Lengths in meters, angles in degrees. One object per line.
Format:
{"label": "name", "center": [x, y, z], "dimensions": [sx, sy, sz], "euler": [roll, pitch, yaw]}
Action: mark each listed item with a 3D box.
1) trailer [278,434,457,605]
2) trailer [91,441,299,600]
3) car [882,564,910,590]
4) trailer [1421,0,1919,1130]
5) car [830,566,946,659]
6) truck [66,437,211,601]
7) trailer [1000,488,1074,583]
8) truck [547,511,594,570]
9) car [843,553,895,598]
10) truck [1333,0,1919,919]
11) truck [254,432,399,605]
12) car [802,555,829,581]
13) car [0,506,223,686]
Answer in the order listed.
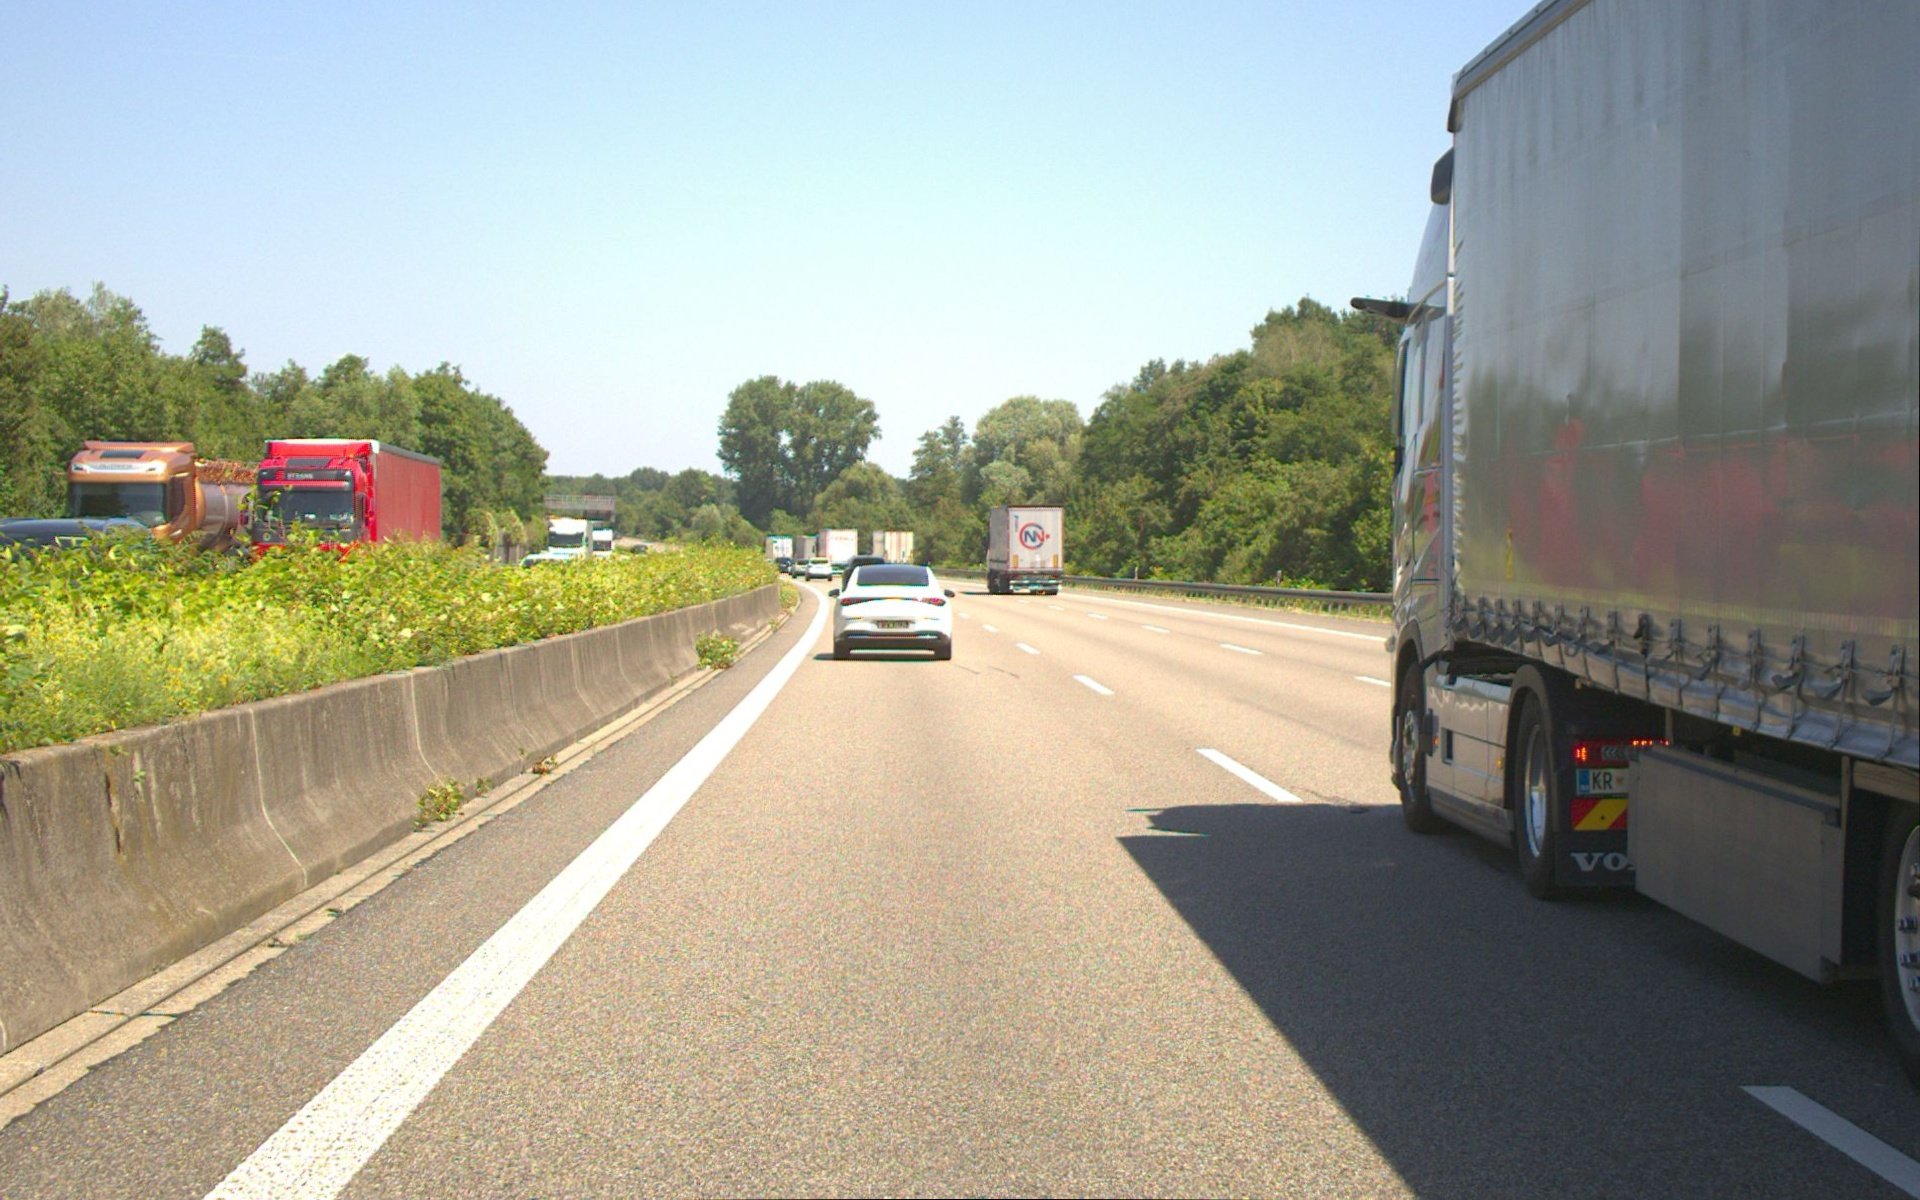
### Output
{"label": "trailer", "center": [-14.762, -1.948, 86.750], "dimensions": [2.465, 3.922, 14.402], "euler": [1, 1, -2]}
{"label": "trailer", "center": [-18.749, -1.896, 85.247], "dimensions": [2.371, 3.583, 14.222], "euler": [1, 1, -2]}
{"label": "car", "center": [-4.016, -1.476, 216.278], "dimensions": [1.723, 1.580, 4.000], "euler": [1, 1, -2]}
{"label": "trailer", "center": [3.923, -0.566, 10.871], "dimensions": [2.740, 3.961, 13.655], "euler": [1, 1, -1]}
{"label": "car", "center": [-1.088, 0.171, 53.417], "dimensions": [1.715, 1.365, 3.375], "euler": [1, 1, 0]}
{"label": "truck", "center": [-18.532, -1.807, 77.737], "dimensions": [2.356, 3.589, 4.164], "euler": [1, 1, -2]}
{"label": "trailer", "center": [3.529, -2.978, 161.560], "dimensions": [2.624, 4.246, 14.062], "euler": [1, 1, -2]}
{"label": "truck", "center": [-26.783, -4.103, 236.537], "dimensions": [2.660, 3.971, 6.555], "euler": [1, 1, -2]}
{"label": "car", "center": [-3.653, -0.986, 138.697], "dimensions": [1.993, 1.766, 4.000], "euler": [1, 1, -1]}
{"label": "truck", "center": [3.767, -0.655, 17.992], "dimensions": [2.722, 3.961, 6.502], "euler": [1, 1, -1]}
{"label": "truck", "center": [-14.510, -1.841, 79.077], "dimensions": [2.465, 3.775, 5.730], "euler": [1, 1, -2]}
{"label": "car", "center": [-10.220, -2.262, 242.794], "dimensions": [1.723, 1.777, 4.001], "euler": [1, 1, -4]}
{"label": "car", "center": [-9.530, -0.076, 37.760], "dimensions": [1.874, 1.815, 5.143], "euler": [1, 1, -2]}
